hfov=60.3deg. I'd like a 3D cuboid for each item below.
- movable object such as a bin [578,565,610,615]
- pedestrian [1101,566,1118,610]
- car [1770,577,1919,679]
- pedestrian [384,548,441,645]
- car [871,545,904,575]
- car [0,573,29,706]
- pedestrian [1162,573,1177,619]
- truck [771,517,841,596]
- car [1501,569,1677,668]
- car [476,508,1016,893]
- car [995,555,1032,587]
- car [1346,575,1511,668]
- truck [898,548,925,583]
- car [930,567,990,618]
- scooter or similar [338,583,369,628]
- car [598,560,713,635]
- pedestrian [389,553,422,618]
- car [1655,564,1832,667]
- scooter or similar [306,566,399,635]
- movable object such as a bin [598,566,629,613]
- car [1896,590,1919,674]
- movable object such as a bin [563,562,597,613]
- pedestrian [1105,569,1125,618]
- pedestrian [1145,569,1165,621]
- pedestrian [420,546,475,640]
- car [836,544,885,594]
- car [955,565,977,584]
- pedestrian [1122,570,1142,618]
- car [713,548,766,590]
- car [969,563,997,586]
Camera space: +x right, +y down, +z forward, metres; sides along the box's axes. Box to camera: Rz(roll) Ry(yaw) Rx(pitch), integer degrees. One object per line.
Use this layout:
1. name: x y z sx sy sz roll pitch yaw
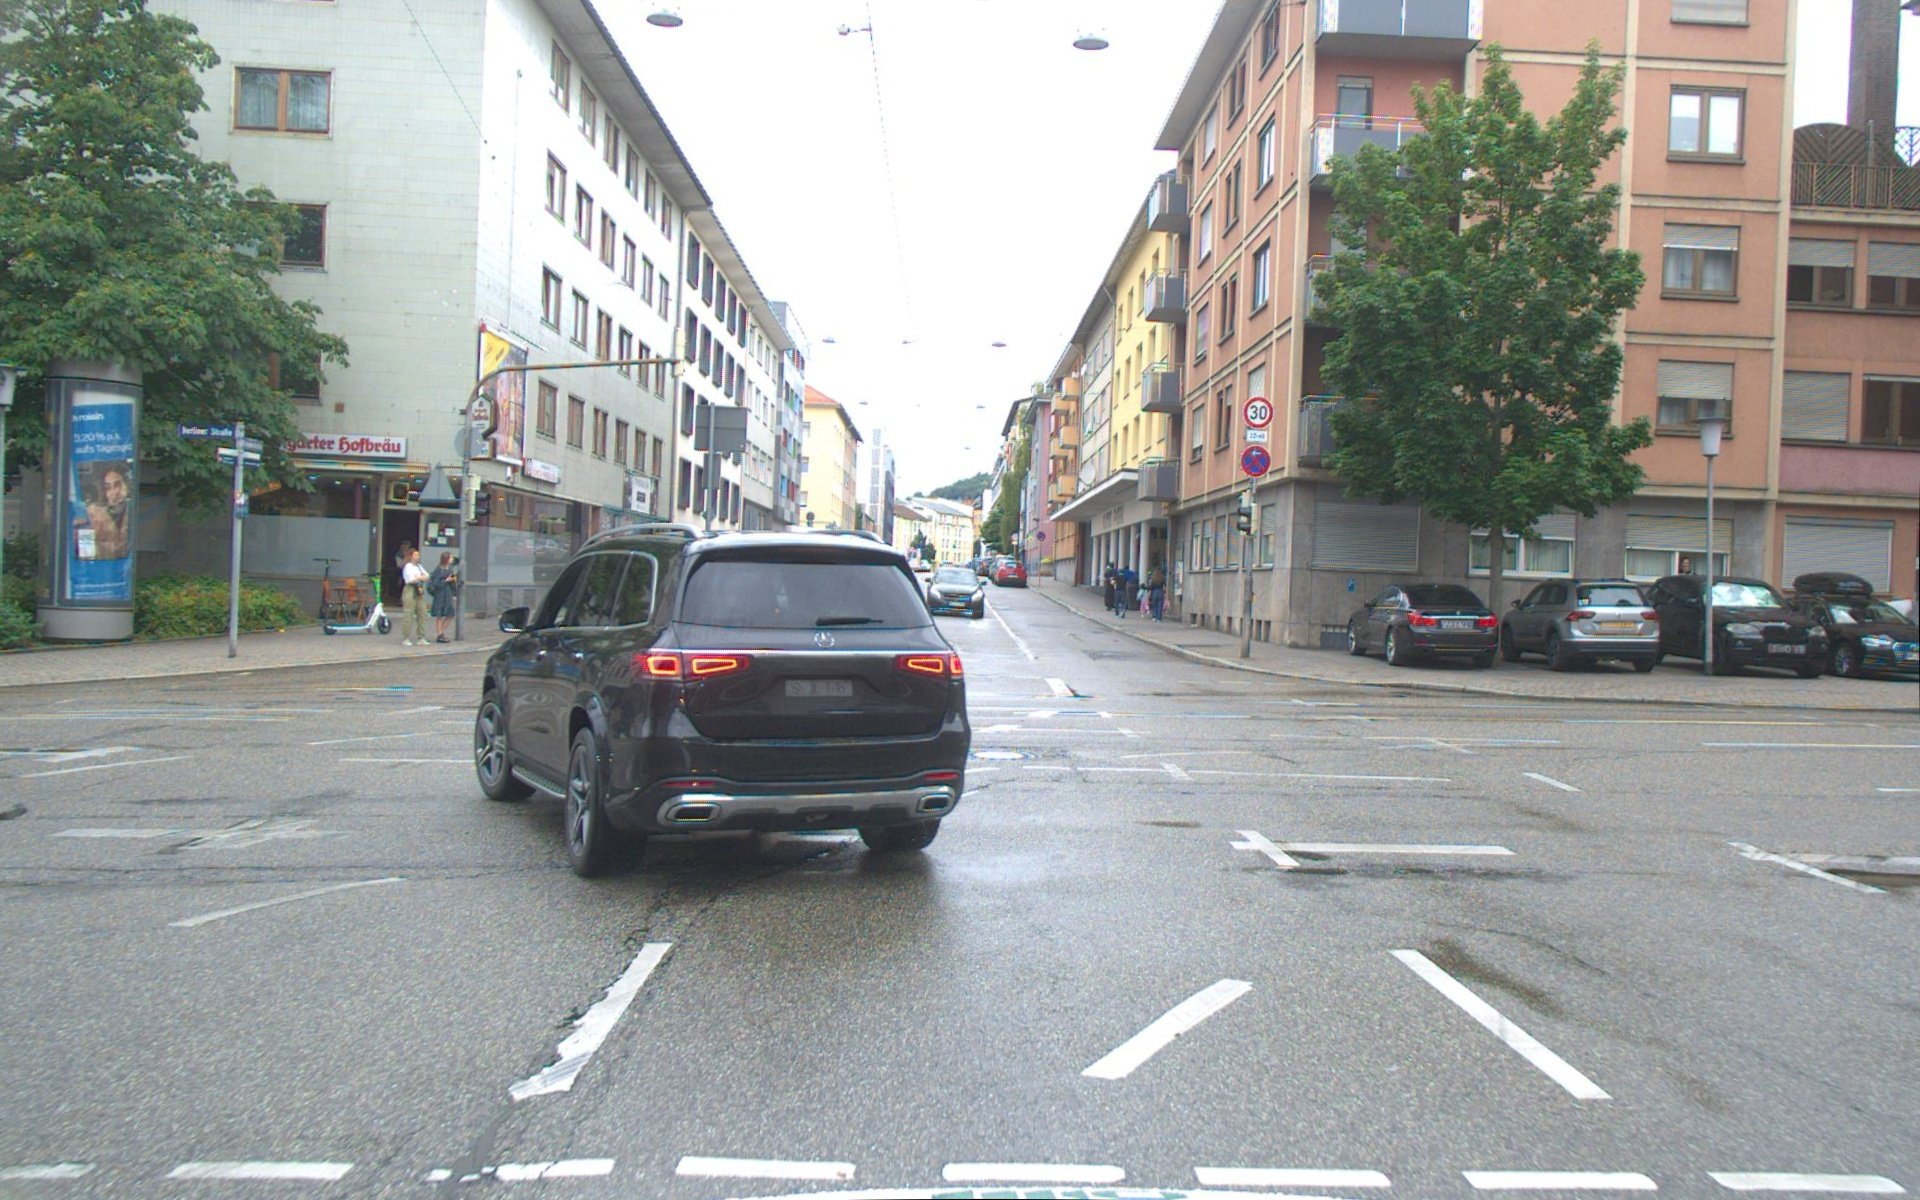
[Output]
1. movable object such as a bin: -10.267 -0.276 46.434 0.683 1.338 0.782 3 -1 -2
2. pedestrian: 5.622 -0.448 62.180 0.509 1.582 0.569 3 3 -1
3. car: 16.811 0.495 30.770 1.757 1.727 4.003 3 1 5
4. pedestrian: -9.833 -0.065 29.707 0.702 1.675 0.749 2 3 -37
5. car: -4.419 -2.392 100.867 1.806 1.703 4.000 1 0 0
6. car: -12.927 0.506 18.507 4.271 1.487 1.837 -1 0 15
7. pedestrian: 6.639 -0.122 52.370 0.356 1.422 0.370 3 3 -1
8. truck: -8.457 -2.340 91.663 2.750 3.899 8.144 3 -1 1
9. car: 11.632 0.308 30.870 1.945 1.689 4.002 1 0 4
10. car: -1.597 0.473 10.182 1.994 1.770 4.711 2 0 -24
11. car: 3.111 -1.664 96.483 1.974 1.590 5.155 3 -1 2
12. car: 8.789 0.359 31.435 1.806 1.581 4.796 1 0 1
13. truck: -6.014 -4.227 205.912 2.750 3.899 8.144 3 -1 1
14. car: -0.017 -0.226 52.389 1.806 1.515 3.999 1 0 -1
15. scooter or similar: -12.114 0.094 33.015 0.452 0.857 1.313 3 -1 -23
16. car: -6.601 -0.064 36.242 1.806 1.539 4.000 1 0 -1
17. pedestrian: -12.552 -0.326 37.438 0.508 1.424 0.578 3 -1 -5
18. car: 14.317 0.267 30.447 1.944 1.749 4.003 1 0 10
19. scooter or similar: -11.448 0.015 31.175 1.540 1.211 0.496 4 -1 -31
20. movable object such as a bin: -10.301 -0.300 49.170 0.683 1.338 0.782 3 -1 -2
21. car: 19.198 0.636 30.580 1.634 1.609 4.001 3 -1 3
22. movable object such as a bin: -10.233 -0.330 44.506 0.683 1.338 0.782 3 -1 -2
23. pedestrian: 5.185 -0.225 55.259 0.509 1.565 0.569 3 3 -1
24. pedestrian: 6.186 -0.164 52.364 0.469 1.593 0.558 3 3 -1
25. pedestrian: -9.480 -0.132 30.593 0.702 1.675 0.749 2 3 -37
26. car: -4.793 -1.459 80.203 2.022 2.280 4.620 1 0 0
27. car: 0.581 -2.495 162.514 1.974 1.590 4.000 3 -1 2
28. pedestrian: 5.754 -0.196 55.280 0.509 1.545 0.569 3 3 -1
29. car: -8.932 -1.229 67.315 1.689 1.631 3.999 1 0 -2
30. car: 1.805 -1.955 128.355 1.974 1.590 4.000 3 -1 2
